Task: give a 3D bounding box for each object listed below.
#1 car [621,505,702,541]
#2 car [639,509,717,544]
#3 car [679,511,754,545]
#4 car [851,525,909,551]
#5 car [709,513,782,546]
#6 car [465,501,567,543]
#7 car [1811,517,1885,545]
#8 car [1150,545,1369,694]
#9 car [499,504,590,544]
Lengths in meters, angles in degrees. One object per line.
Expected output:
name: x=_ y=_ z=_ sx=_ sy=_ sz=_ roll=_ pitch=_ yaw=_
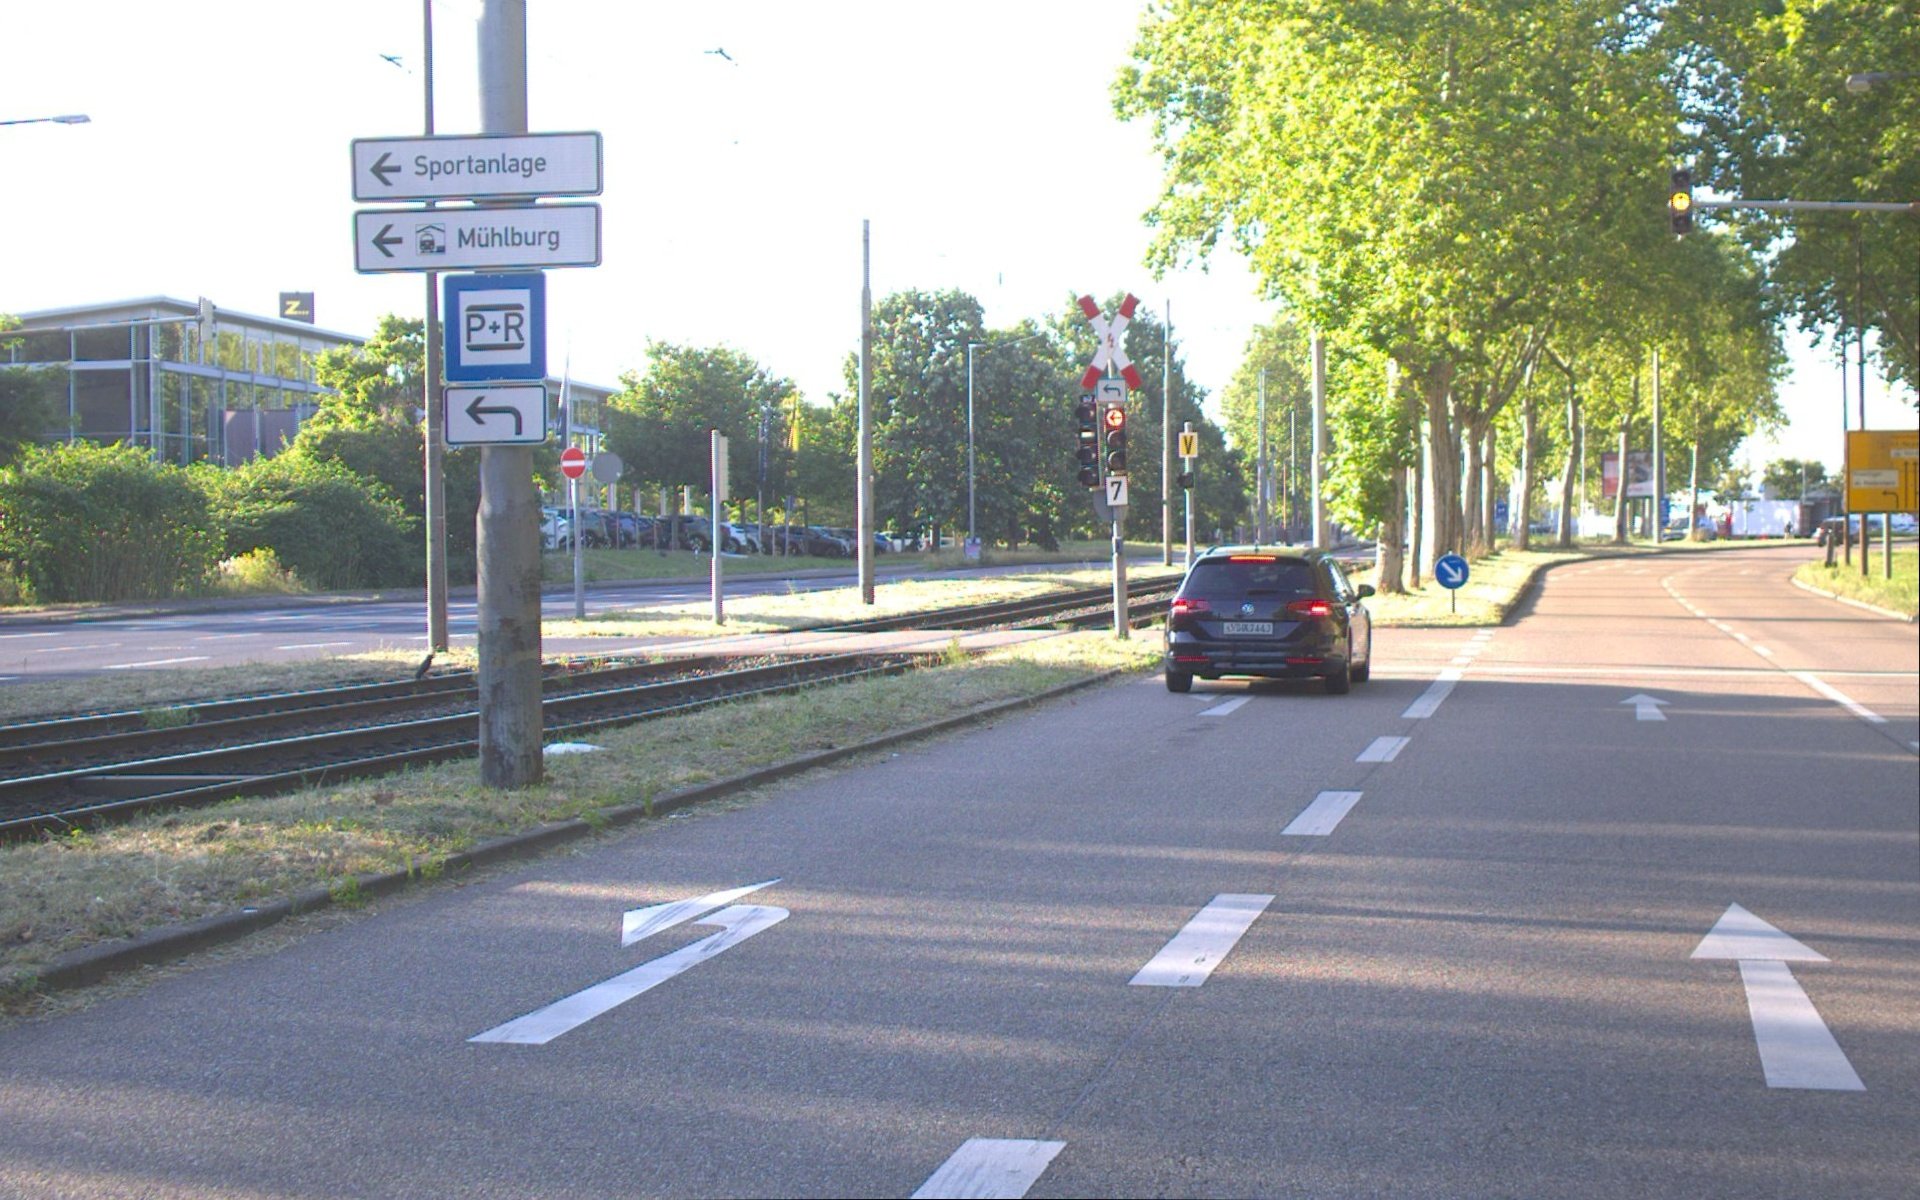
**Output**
car: x=-12.545 y=-3.243 z=144.500 sx=3.143 sy=1.485 sz=1.455 roll=0 pitch=1 yaw=7
car: x=-12.155 y=-3.183 z=148.252 sx=3.143 sy=1.485 sz=1.455 roll=0 pitch=1 yaw=7
car: x=-10.923 y=-3.220 z=154.344 sx=3.143 sy=1.485 sz=1.455 roll=0 pitch=1 yaw=7
car: x=-4.647 y=-3.612 z=199.679 sx=3.143 sy=1.485 sz=1.455 roll=0 pitch=1 yaw=7
car: x=-9.820 y=-3.212 z=157.562 sx=3.143 sy=1.485 sz=1.455 roll=0 pitch=1 yaw=7
car: x=-14.888 y=-2.602 z=115.308 sx=3.143 sy=1.387 sz=1.455 roll=0 pitch=1 yaw=7
car: x=45.620 y=-3.552 z=176.608 sx=3.678 sy=1.398 sz=1.798 roll=0 pitch=1 yaw=-39
car: x=3.071 y=0.154 z=34.617 sx=1.793 sy=1.398 sz=3.687 roll=0 pitch=1 yaw=11
car: x=-15.723 y=-2.856 z=130.046 sx=3.143 sy=1.485 sz=1.455 roll=0 pitch=1 yaw=7
